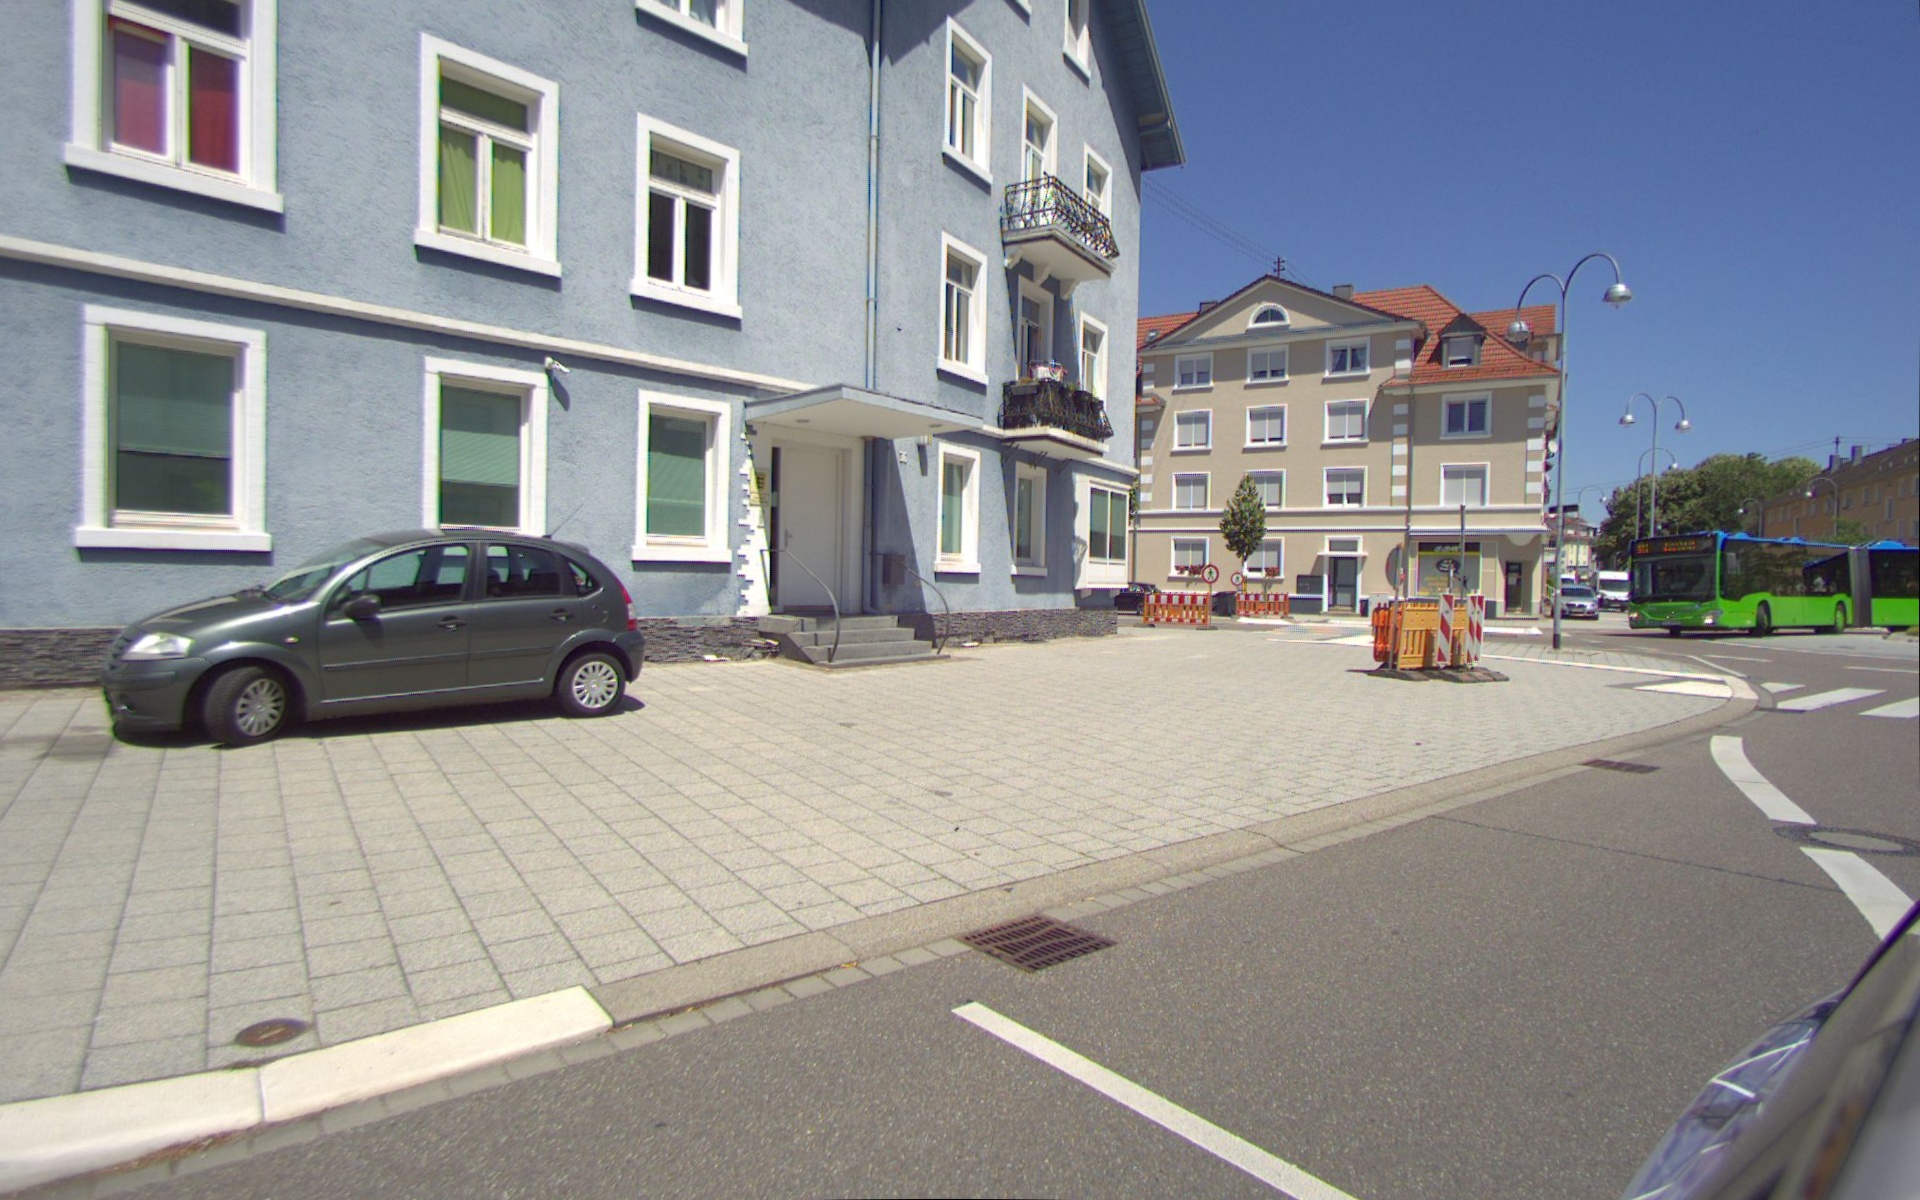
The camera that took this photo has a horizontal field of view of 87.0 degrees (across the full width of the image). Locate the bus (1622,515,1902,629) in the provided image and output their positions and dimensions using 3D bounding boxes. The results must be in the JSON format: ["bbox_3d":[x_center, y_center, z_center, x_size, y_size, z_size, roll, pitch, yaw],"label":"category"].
[{"bbox_3d":[25.621,-0.726,31.988,12.314,3.120,2.915,0,-1,-32],"label":"bus"}]

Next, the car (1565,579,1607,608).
[{"bbox_3d":[34.075,-0.363,55.041,1.814,1.428,3.954,4,3,33],"label":"car"}]

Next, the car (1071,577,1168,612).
[{"bbox_3d":[7.056,-0.278,44.760,3.955,1.463,1.885,1,2,23],"label":"car"}]

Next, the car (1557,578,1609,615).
[{"bbox_3d":[27.539,-0.196,44.709,1.814,1.427,3.954,4,4,33],"label":"car"}]

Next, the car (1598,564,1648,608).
[{"bbox_3d":[41.047,-0.857,62.751,2.325,2.486,5.669,4,2,32],"label":"car"}]

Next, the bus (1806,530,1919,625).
[{"bbox_3d":[36.208,-0.703,34.514,12.320,3.101,2.931,0,-1,-1],"label":"bus"}]

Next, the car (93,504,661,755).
[{"bbox_3d":[-4.550,0.118,8.159,3.677,1.532,1.762,0,5,-42],"label":"car"}]
